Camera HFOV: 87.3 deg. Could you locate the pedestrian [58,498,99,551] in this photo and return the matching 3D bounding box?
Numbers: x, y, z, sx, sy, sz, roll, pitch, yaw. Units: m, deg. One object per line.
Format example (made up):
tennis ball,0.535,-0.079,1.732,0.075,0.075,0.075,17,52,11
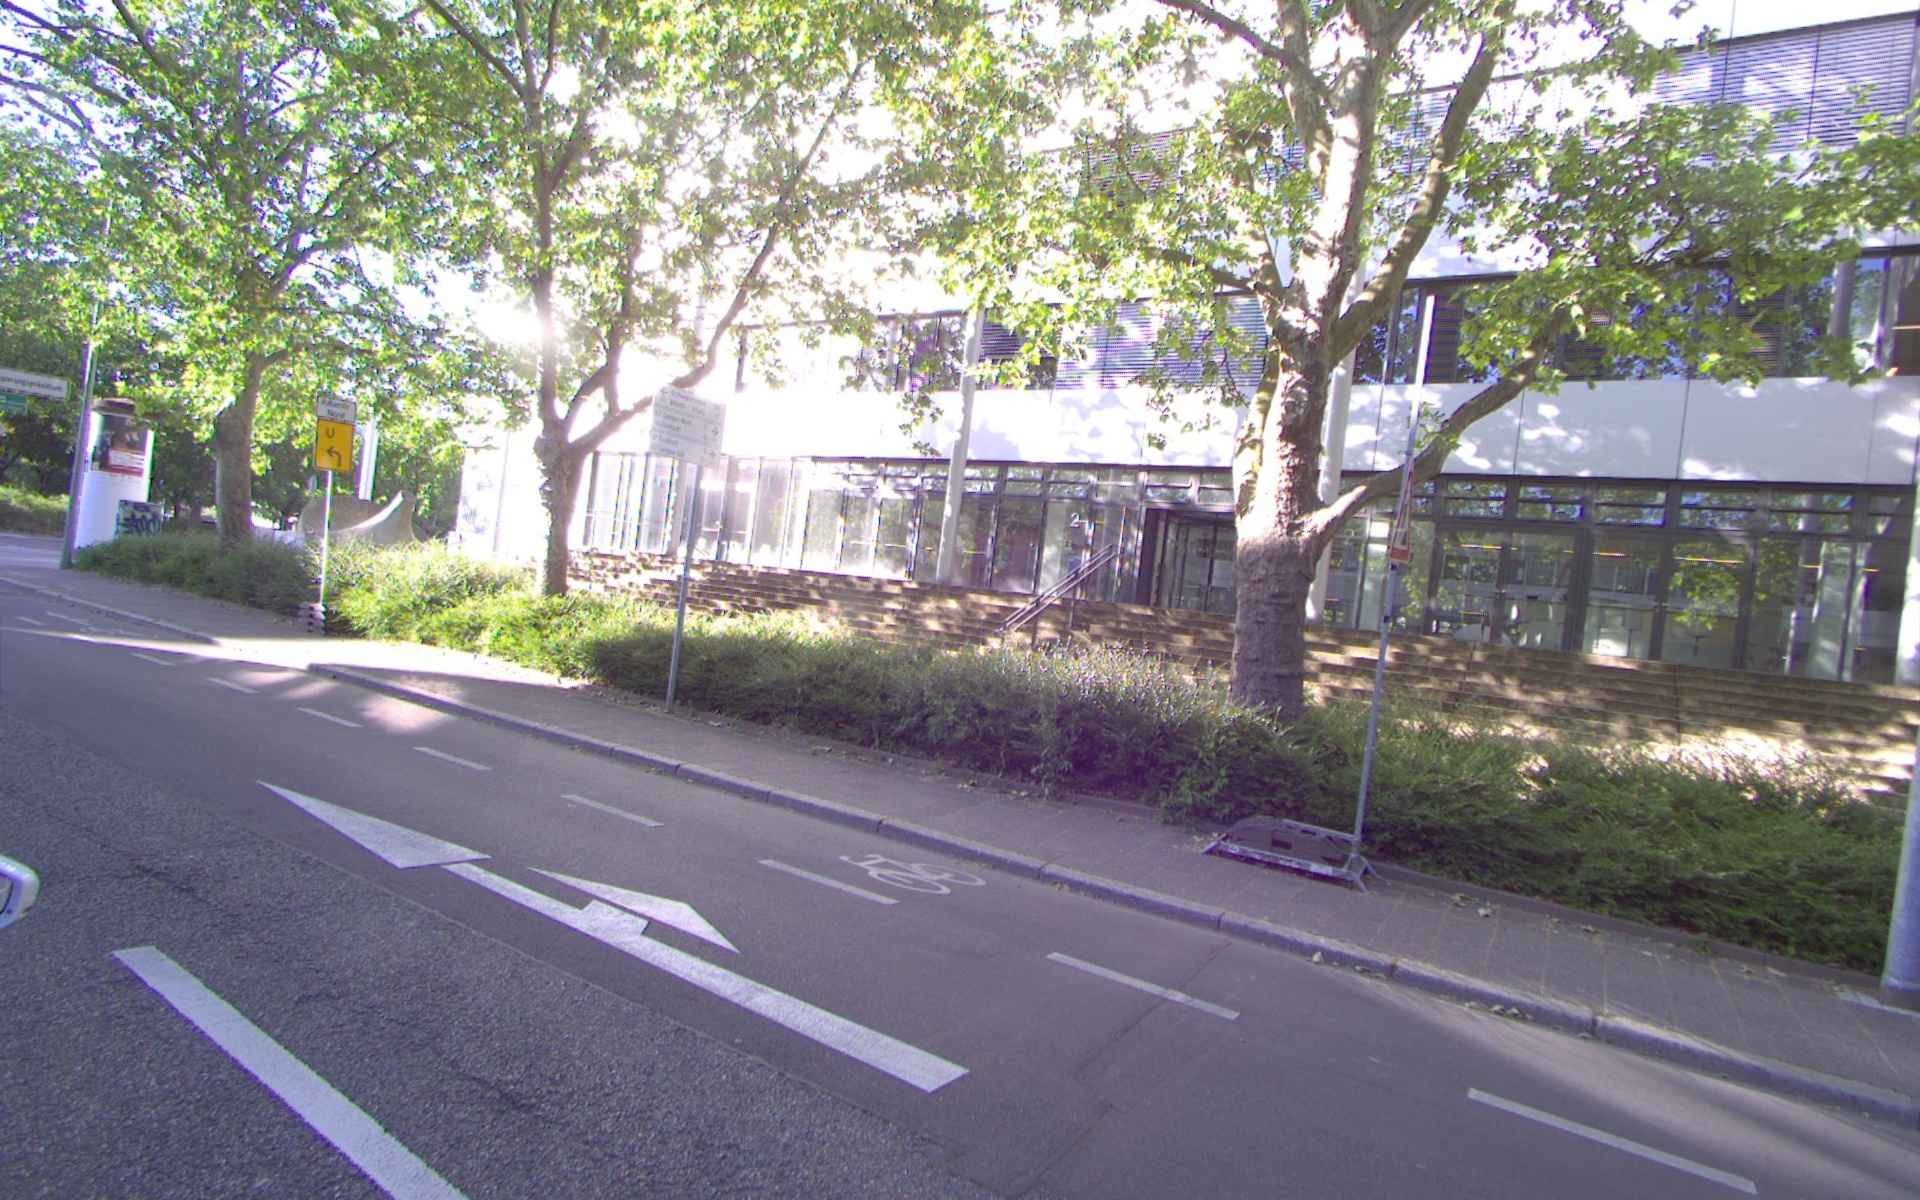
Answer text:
pedestrian,-32.819,-2.815,37.468,0.716,1.799,0.738,7,-1,20
